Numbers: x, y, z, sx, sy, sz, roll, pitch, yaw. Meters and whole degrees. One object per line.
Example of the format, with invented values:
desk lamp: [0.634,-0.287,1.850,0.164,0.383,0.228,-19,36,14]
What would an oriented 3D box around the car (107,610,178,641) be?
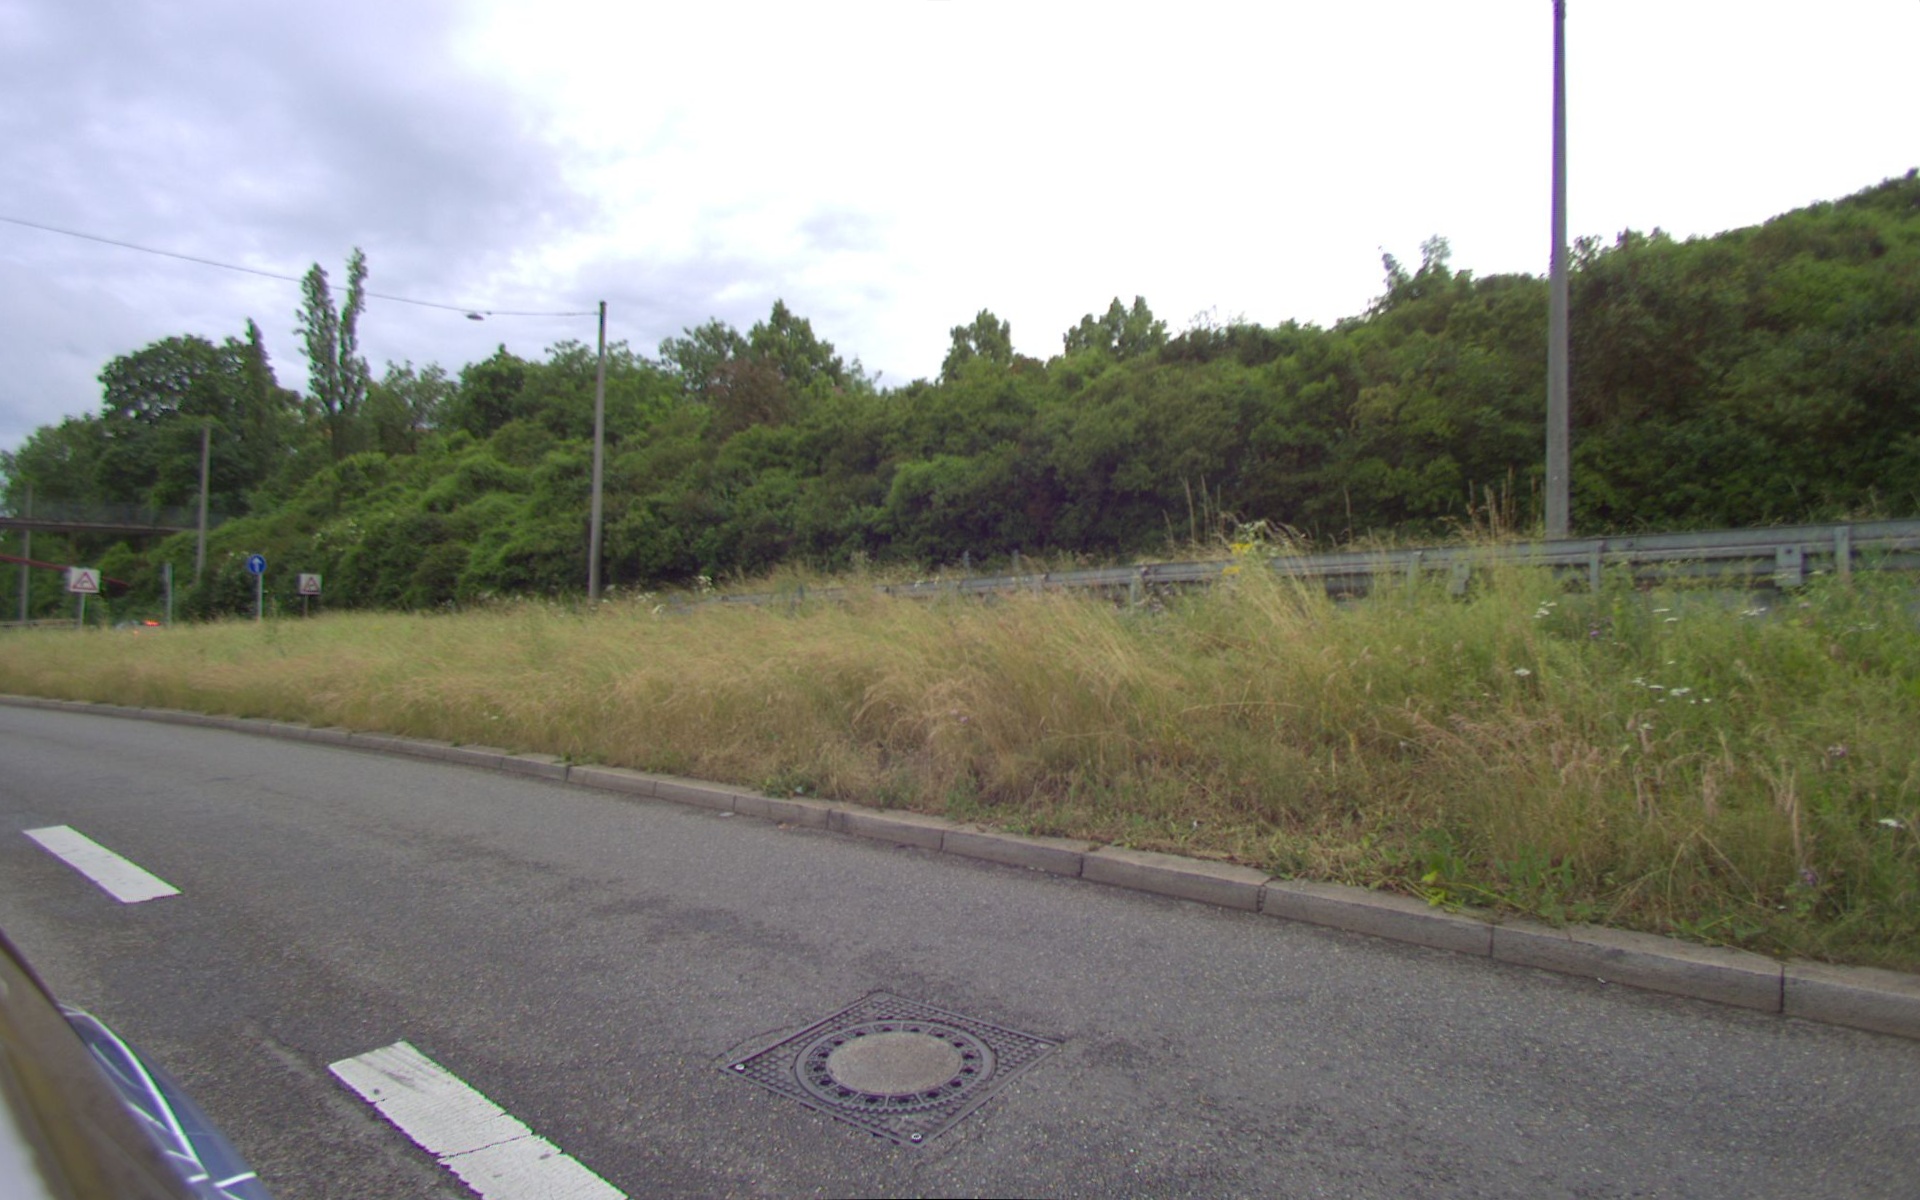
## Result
car: [-40.834,1.240,50.504,4.282,1.464,1.973,0,0,40]
